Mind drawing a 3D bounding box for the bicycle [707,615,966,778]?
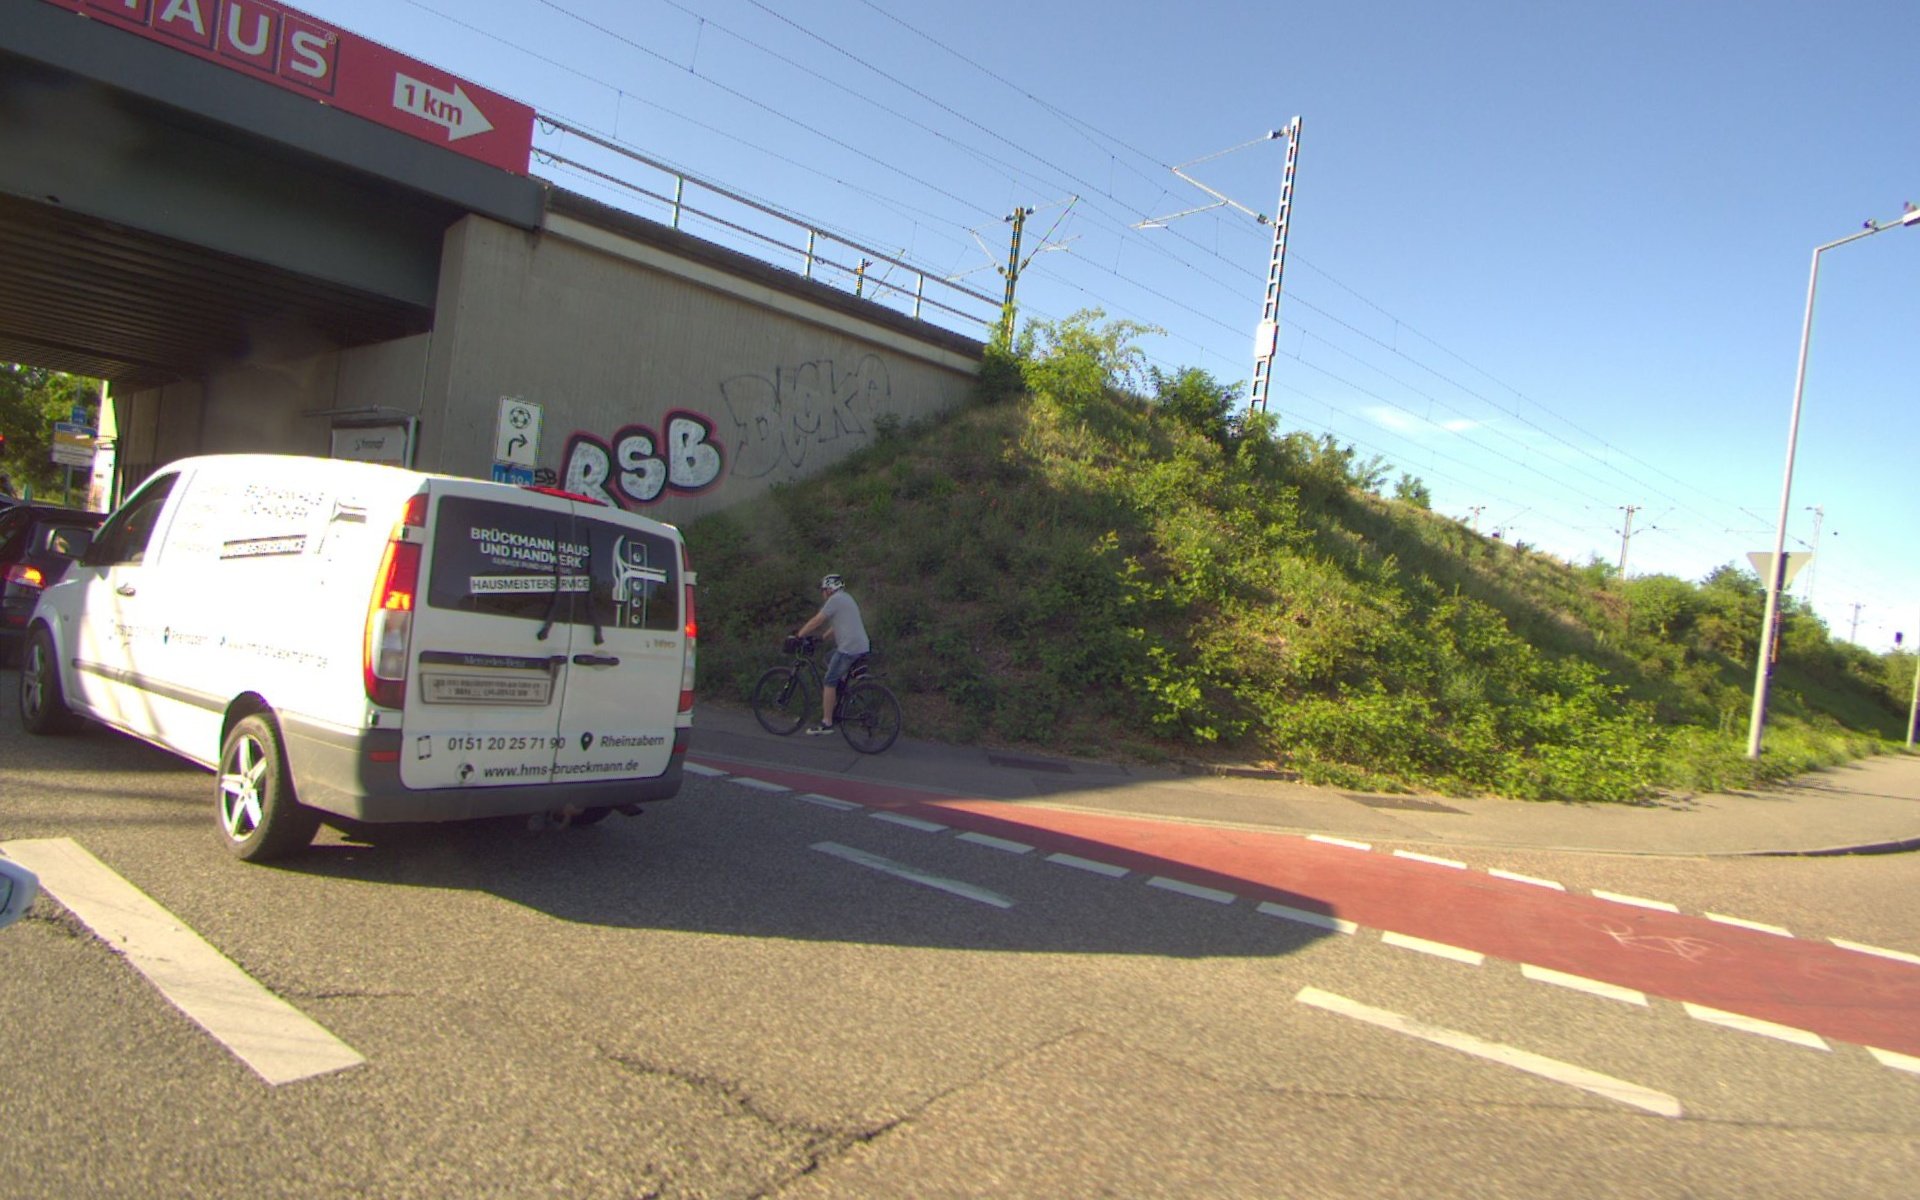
[{"bbox_3d":[-1.244,0.893,9.916,2.407,1.127,0.744,9,3,25],"label":"bicycle"}]

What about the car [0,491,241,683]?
[{"bbox_3d":[-8.666,-0.220,9.776,3.622,1.451,1.605,7,-1,37],"label":"car"}]

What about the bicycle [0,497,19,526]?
[{"bbox_3d":[-32.884,-3.060,34.421,1.968,0.905,0.770,6,2,40],"label":"bicycle"}]

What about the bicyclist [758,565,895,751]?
[{"bbox_3d":[-1.314,0.551,9.941,0.896,1.640,0.747,9,3,25],"label":"bicyclist"}]

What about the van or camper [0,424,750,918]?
[{"bbox_3d":[-3.779,0.123,6.119,4.801,1.907,1.959,8,0,34],"label":"van or camper"}]

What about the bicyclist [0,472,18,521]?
[{"bbox_3d":[-32.690,-3.544,34.269,0.912,1.605,0.749,7,2,41],"label":"bicyclist"}]

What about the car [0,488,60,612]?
[{"bbox_3d":[-13.725,-0.840,13.387,4.224,1.493,1.763,6,0,37],"label":"car"}]
